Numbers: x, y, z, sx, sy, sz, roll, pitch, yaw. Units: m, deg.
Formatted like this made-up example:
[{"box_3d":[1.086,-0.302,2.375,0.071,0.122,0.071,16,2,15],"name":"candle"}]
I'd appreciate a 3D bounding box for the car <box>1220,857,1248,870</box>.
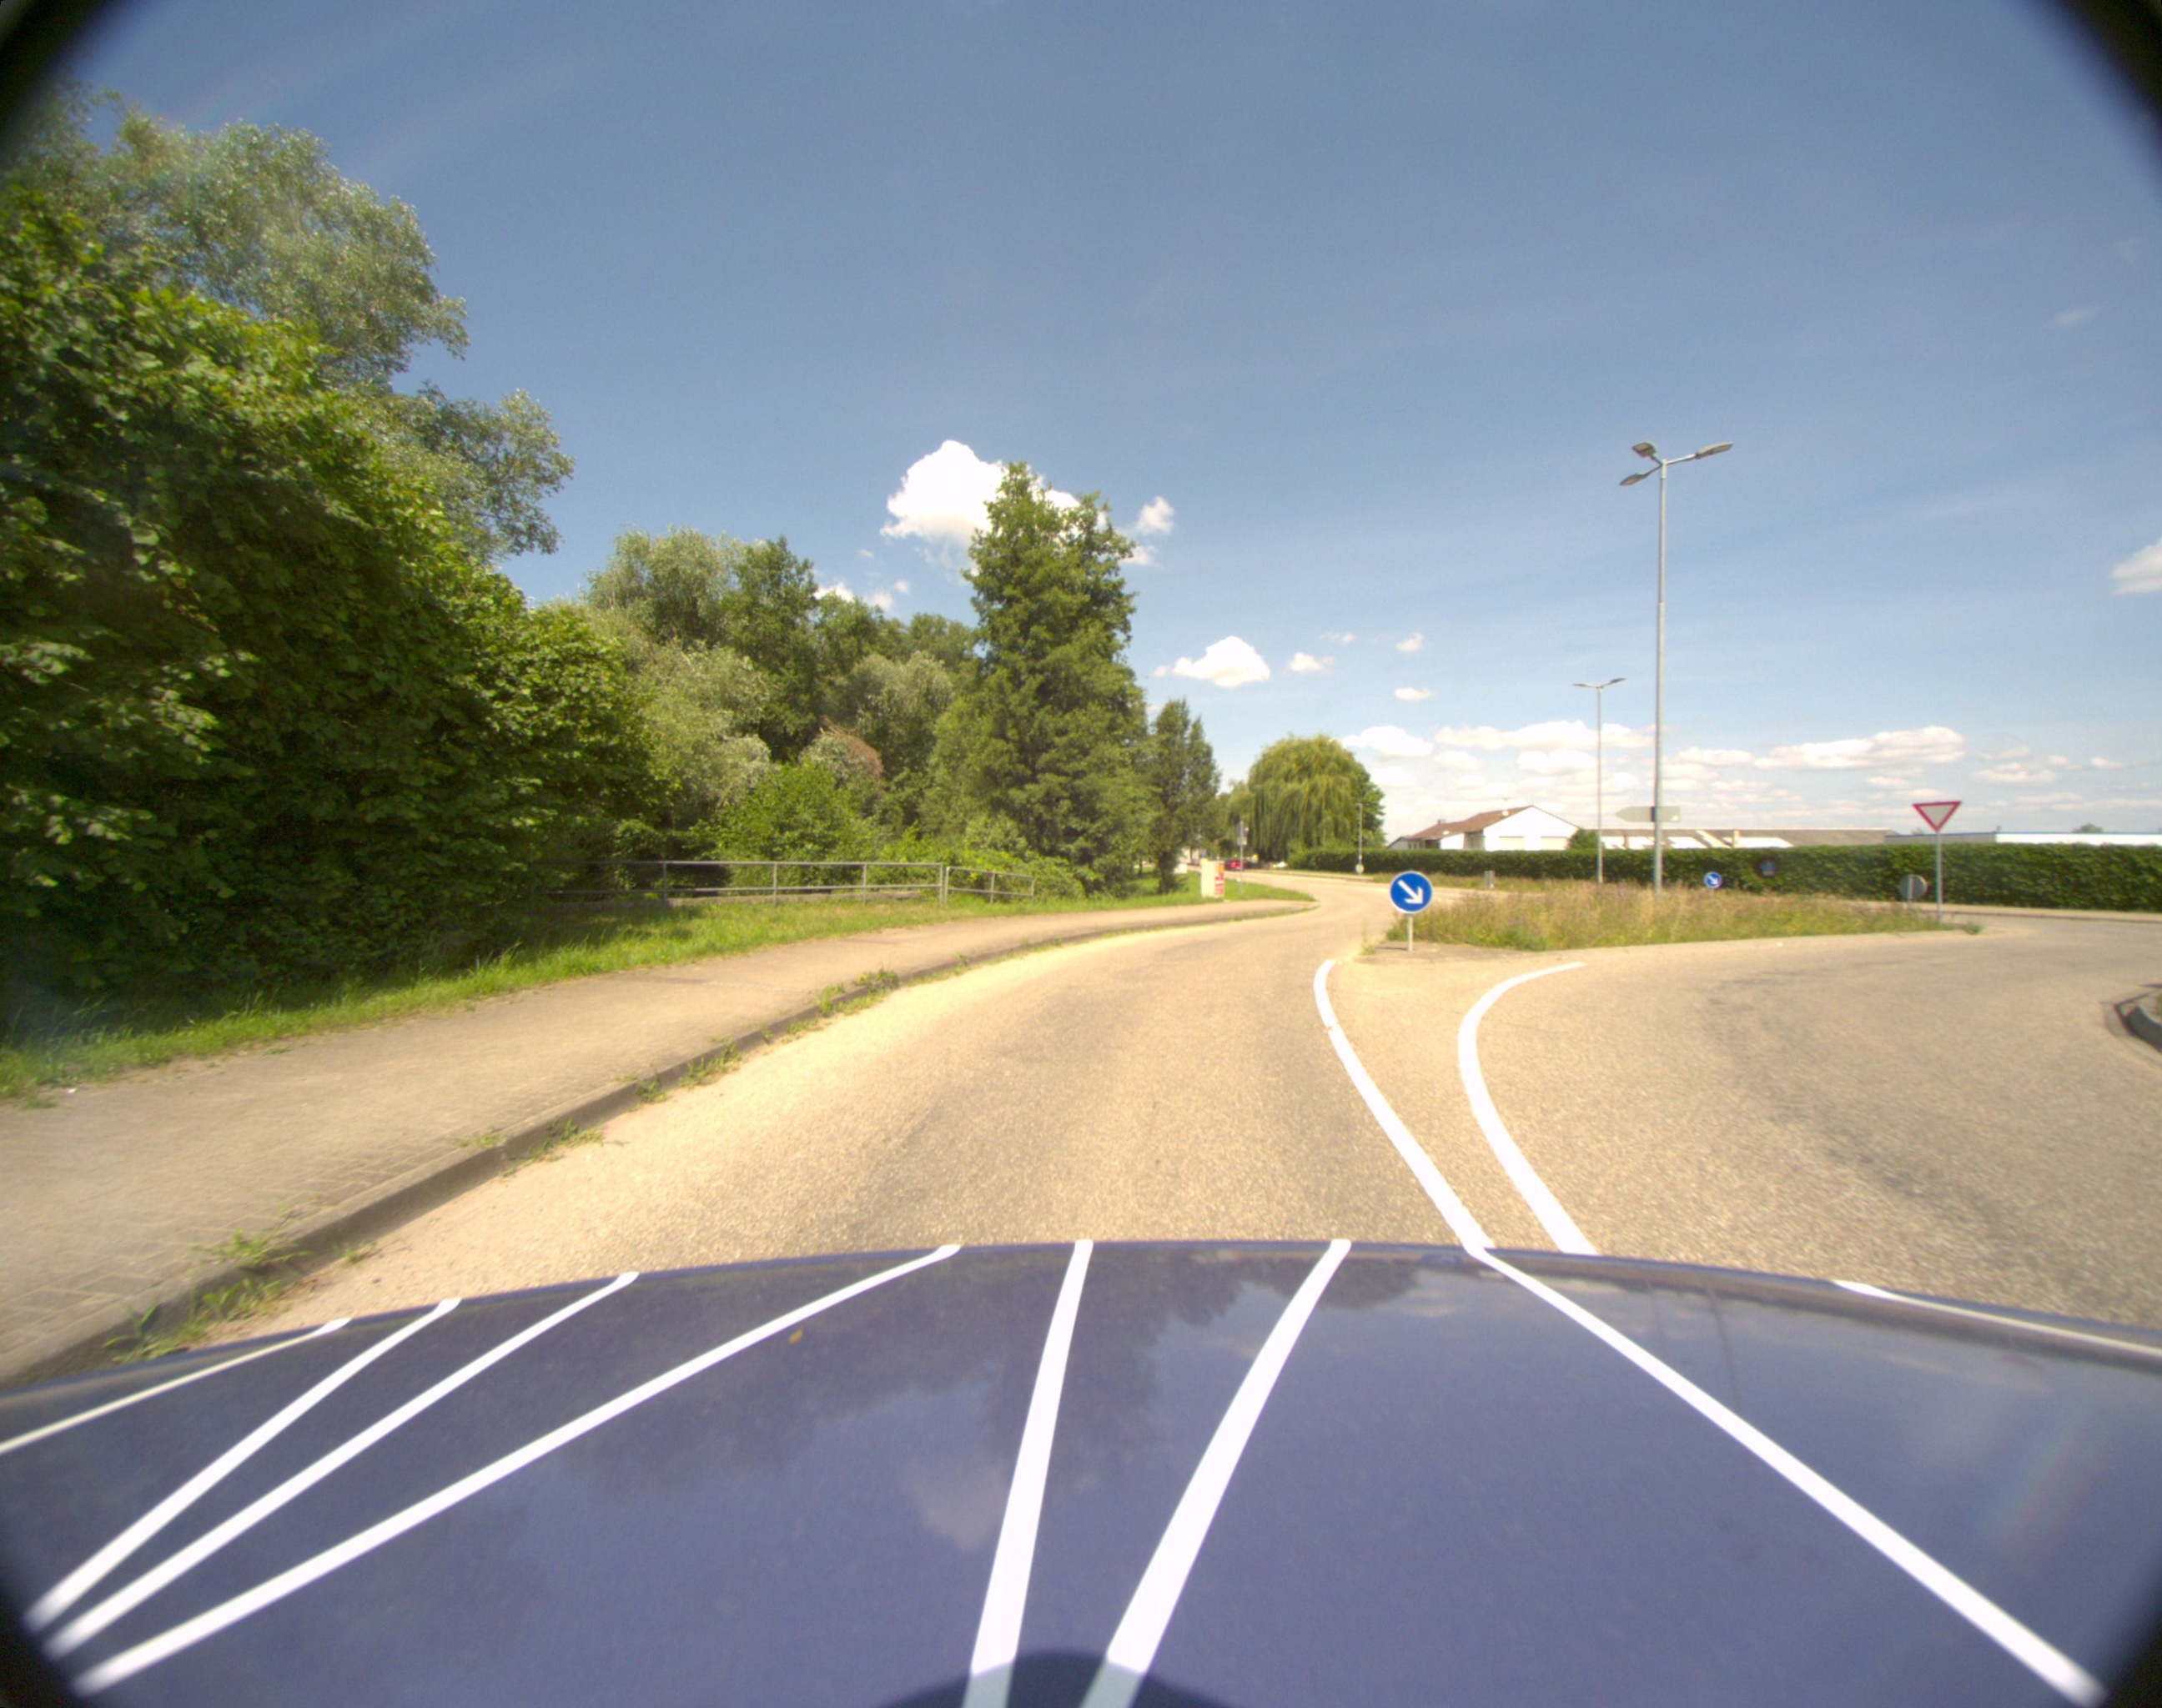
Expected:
[{"box_3d":[17.544,1.092,87.419,1.886,1.455,4.383,1,0,-7],"name":"car"}]
